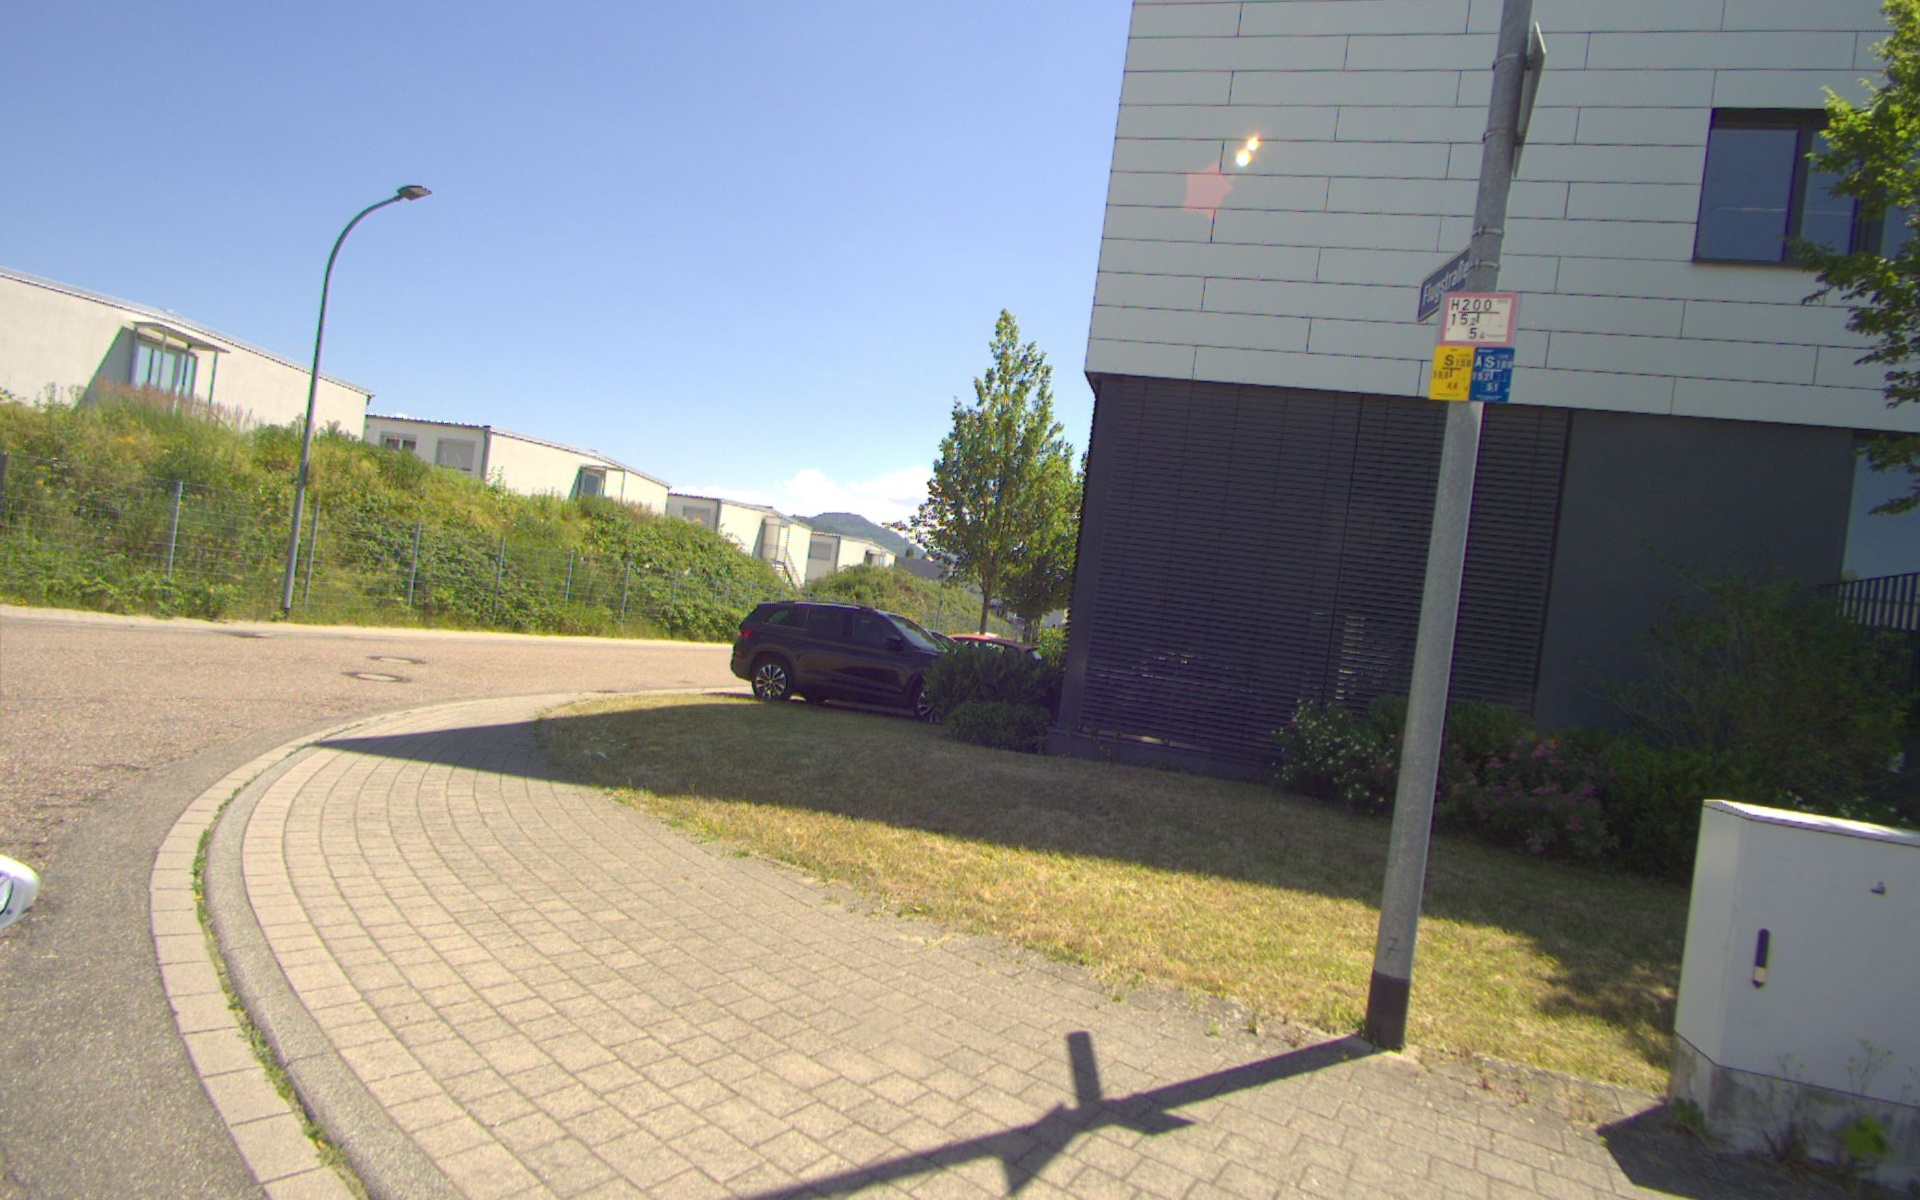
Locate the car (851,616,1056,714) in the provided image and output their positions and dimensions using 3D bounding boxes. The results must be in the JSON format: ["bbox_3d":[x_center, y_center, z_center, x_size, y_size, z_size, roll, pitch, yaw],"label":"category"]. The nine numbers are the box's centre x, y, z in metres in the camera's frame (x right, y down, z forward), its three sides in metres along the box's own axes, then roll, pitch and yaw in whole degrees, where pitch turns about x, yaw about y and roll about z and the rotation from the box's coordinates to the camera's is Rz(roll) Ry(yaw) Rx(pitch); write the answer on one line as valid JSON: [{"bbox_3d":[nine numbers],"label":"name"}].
[{"bbox_3d":[-0.102,1.362,21.416,3.924,1.512,1.726,7,-1,14],"label":"car"}]

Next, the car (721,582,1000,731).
[{"bbox_3d":[-1.569,0.878,16.110,3.925,1.786,1.726,6,-1,19],"label":"car"}]
